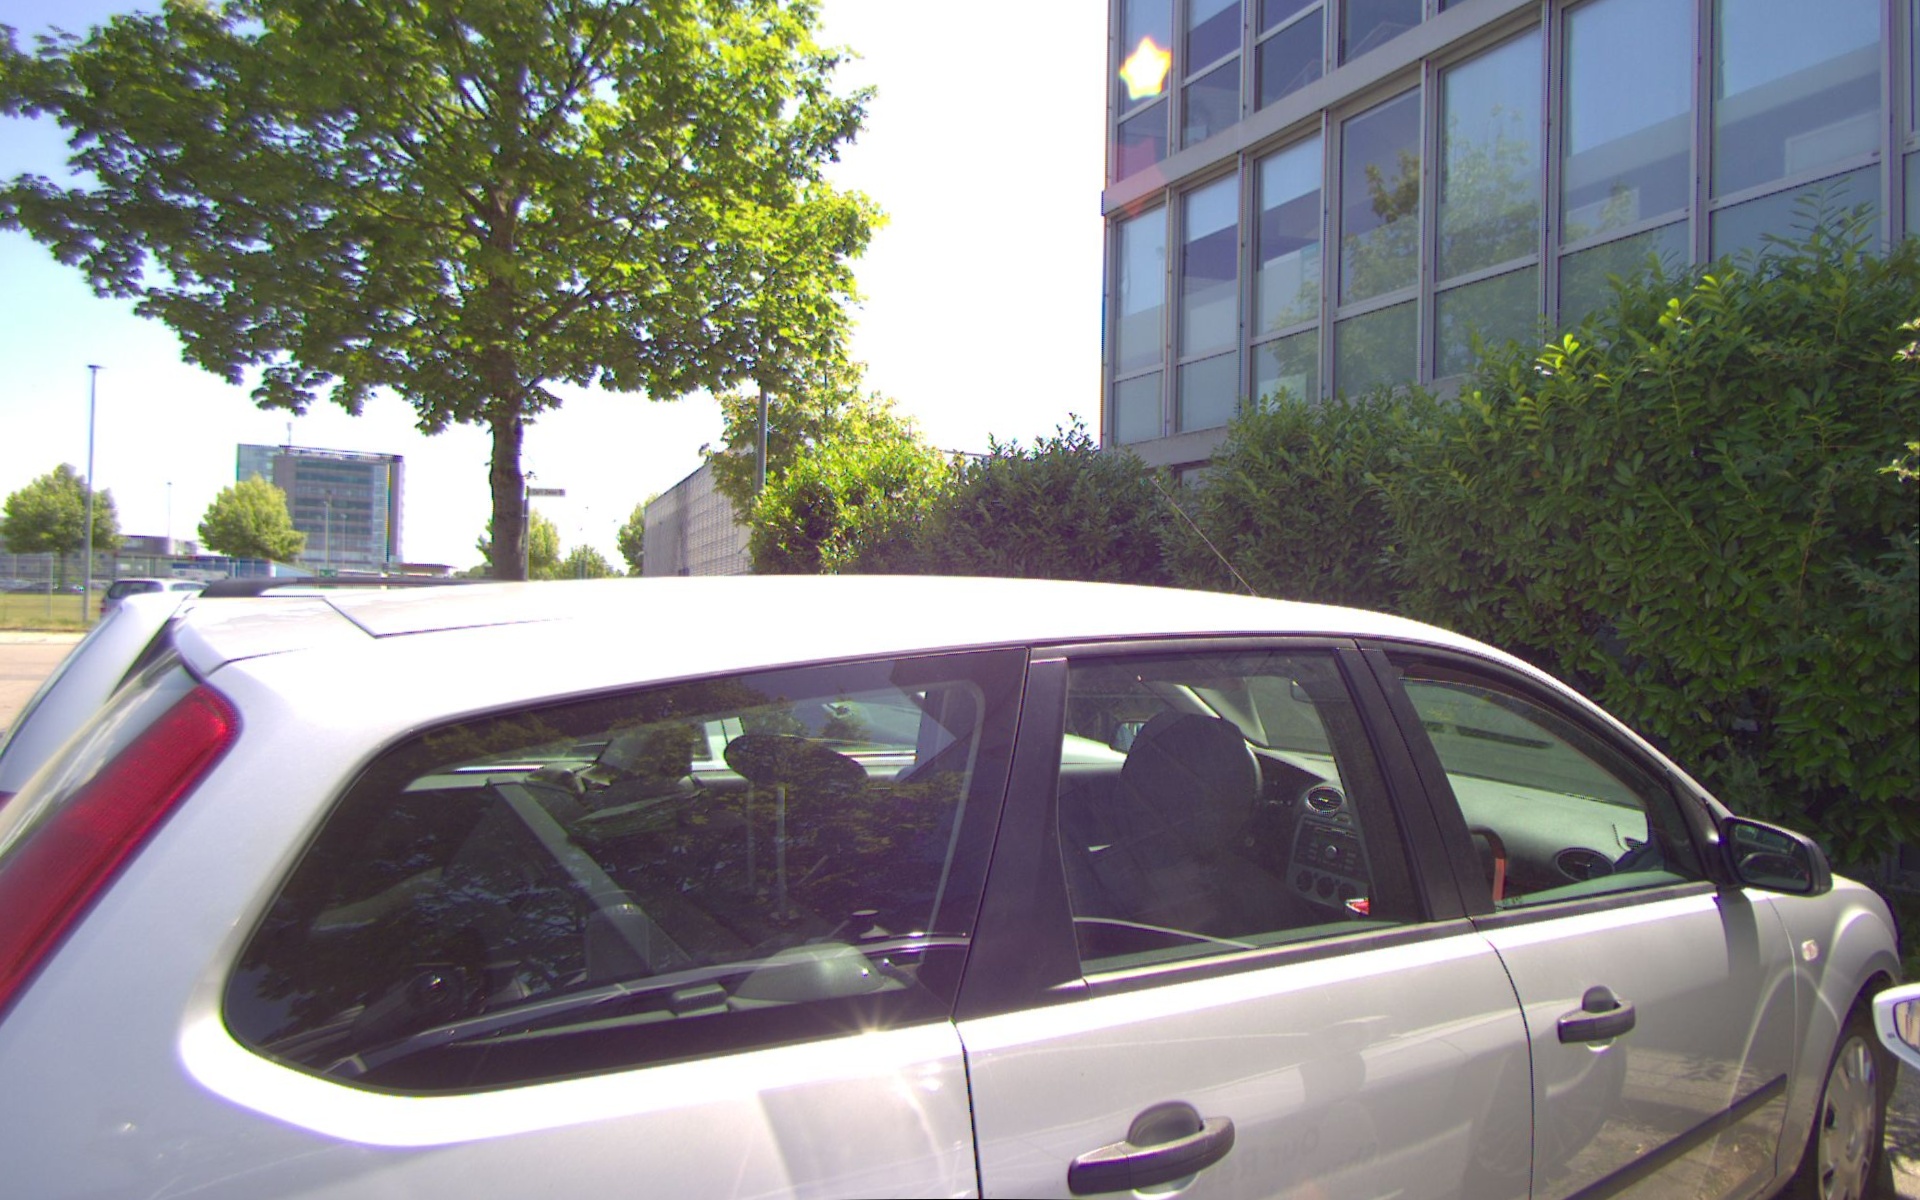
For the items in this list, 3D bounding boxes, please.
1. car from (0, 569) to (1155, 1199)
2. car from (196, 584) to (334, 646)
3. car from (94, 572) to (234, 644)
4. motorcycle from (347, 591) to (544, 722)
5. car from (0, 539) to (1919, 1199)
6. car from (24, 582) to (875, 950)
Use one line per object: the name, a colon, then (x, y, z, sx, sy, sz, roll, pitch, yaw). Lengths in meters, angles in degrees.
car: (-1.252, 0.706, 3.726, 3.852, 1.499, 1.637, 1, 0, -34)
car: (-18.861, 0.372, 27.462, 1.624, 1.542, 3.991, 1, 0, -12)
car: (-21.279, 0.202, 27.028, 1.746, 1.761, 3.981, 1, 0, -20)
motorcycle: (-5.876, 0.619, 11.547, 1.969, 1.408, 0.480, 1, 1, -35)
car: (0.410, 0.743, 2.121, 4.299, 1.499, 1.710, 1, 0, -31)
car: (-2.573, 0.693, 5.772, 3.852, 1.468, 1.637, 1, 0, -34)
